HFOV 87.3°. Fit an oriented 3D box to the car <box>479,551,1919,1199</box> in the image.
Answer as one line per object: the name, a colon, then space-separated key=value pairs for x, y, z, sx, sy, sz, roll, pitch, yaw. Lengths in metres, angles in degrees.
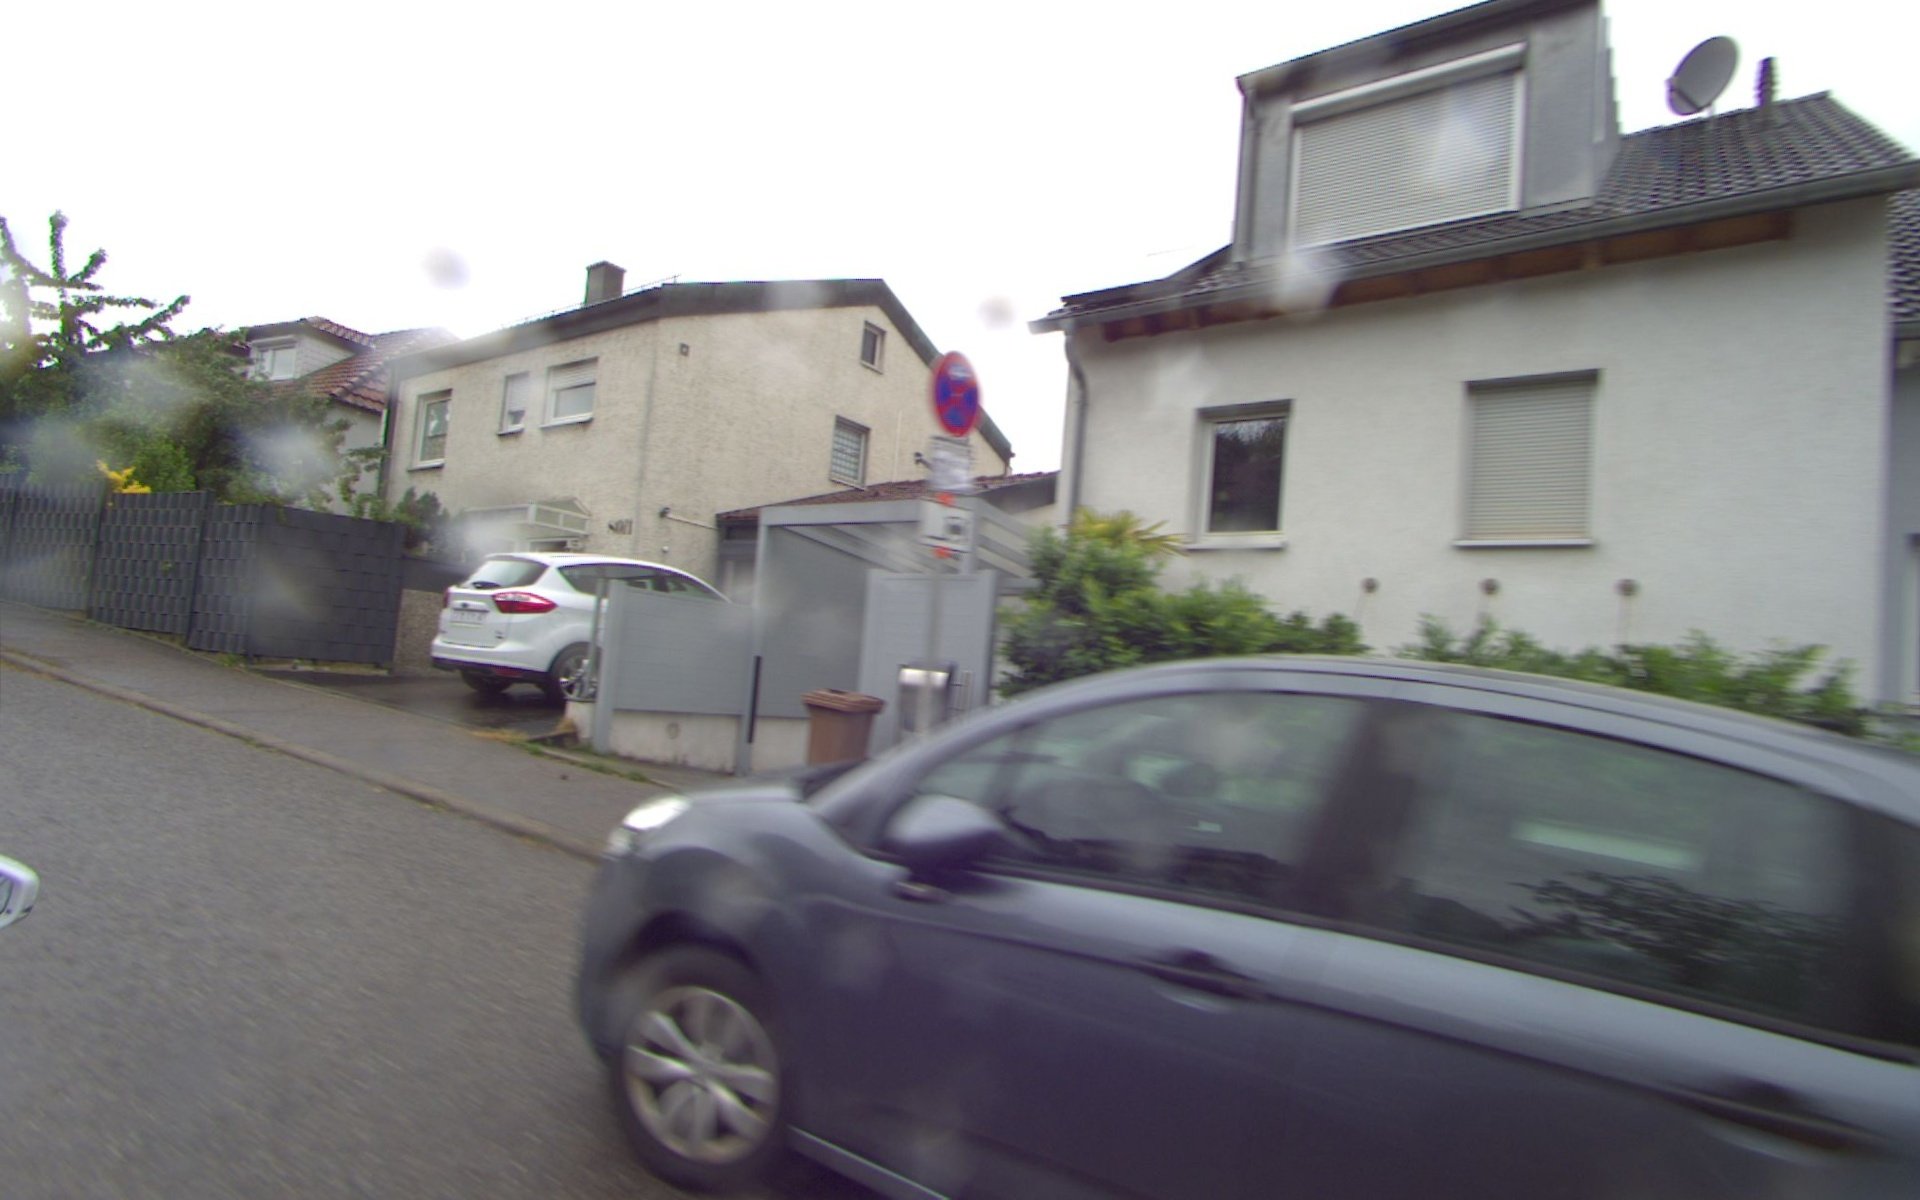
car: x=0.721 y=0.835 z=2.600 sx=3.700 sy=1.485 sz=1.661 roll=6 pitch=0 yaw=30

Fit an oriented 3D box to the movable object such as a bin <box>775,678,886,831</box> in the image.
movable object such as a bin: x=-0.893 y=1.050 z=6.942 sx=0.492 sy=0.950 sz=0.432 roll=7 pitch=-1 yaw=33

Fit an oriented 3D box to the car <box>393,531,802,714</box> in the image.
car: x=-3.980 y=0.357 z=11.679 sx=1.904 sy=1.607 sz=3.993 roll=5 pitch=-3 yaw=34
